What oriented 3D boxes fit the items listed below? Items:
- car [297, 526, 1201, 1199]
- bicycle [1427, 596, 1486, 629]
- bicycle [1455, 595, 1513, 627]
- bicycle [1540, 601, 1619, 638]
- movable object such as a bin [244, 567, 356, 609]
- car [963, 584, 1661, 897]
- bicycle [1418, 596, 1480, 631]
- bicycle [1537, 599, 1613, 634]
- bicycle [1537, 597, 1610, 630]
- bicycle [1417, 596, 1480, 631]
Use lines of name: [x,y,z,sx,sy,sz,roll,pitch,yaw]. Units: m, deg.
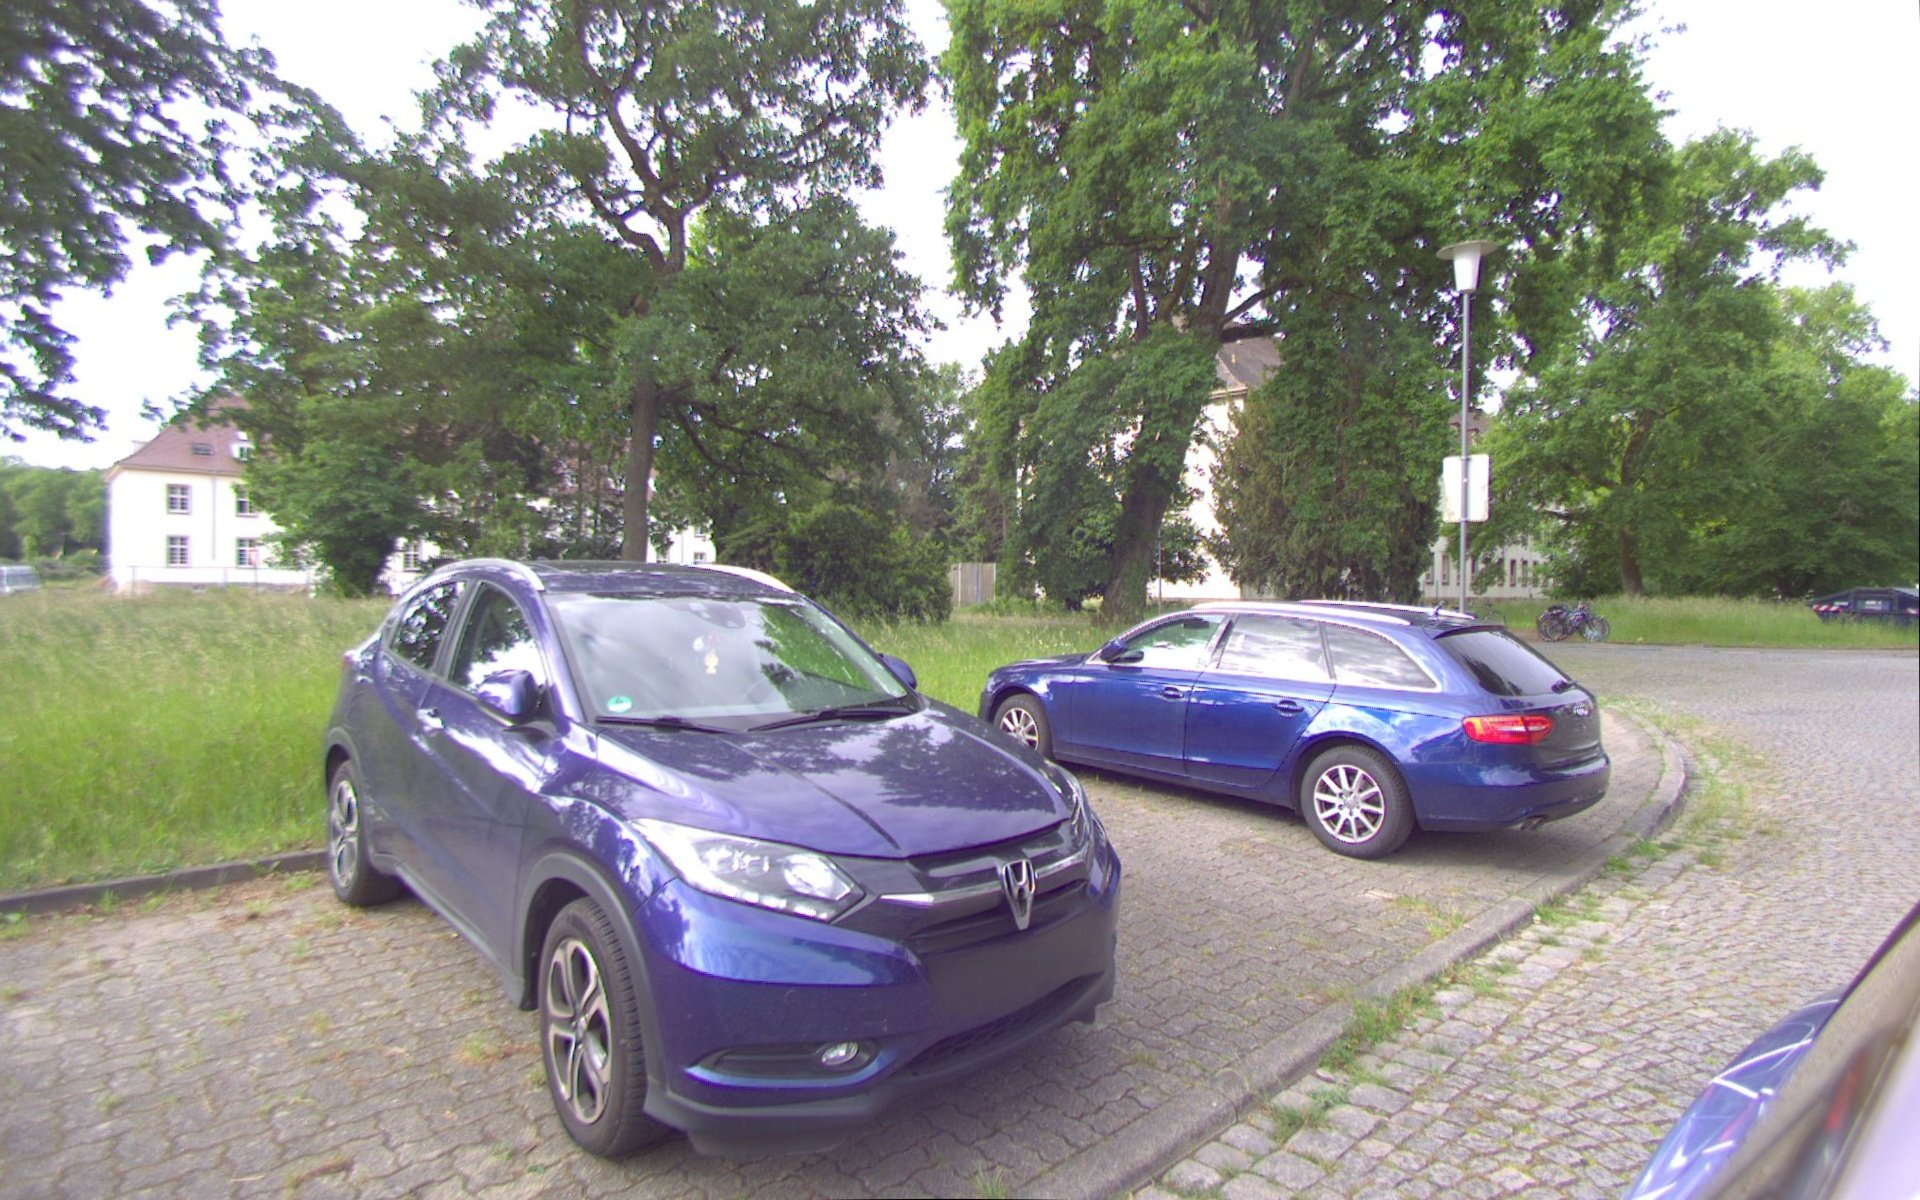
car: [-1.275,0.590,4.178,1.763,1.591,4.167,-1,2,-43]
bicycle: [17.458,0.425,35.646,1.837,1.137,0.617,0,0,24]
bicycle: [19.161,0.390,37.020,1.837,1.137,0.617,0,0,24]
bicycle: [18.740,0.574,30.668,1.948,1.090,0.584,0,0,20]
movable object such as a bin: [-43.122,-0.784,66.231,5.875,2.688,2.171,-1,0,-42]
car: [2.138,0.666,7.292,1.753,1.439,4.480,0,2,-40]
bicycle: [16.533,0.444,34.245,1.837,1.137,0.617,0,0,24]
bicycle: [19.503,0.521,32.129,1.948,1.090,0.584,0,0,20]
bicycle: [20.594,0.448,33.995,2.007,1.090,0.617,0,0,24]
bicycle: [16.240,0.451,33.679,1.837,1.137,0.617,0,0,24]
